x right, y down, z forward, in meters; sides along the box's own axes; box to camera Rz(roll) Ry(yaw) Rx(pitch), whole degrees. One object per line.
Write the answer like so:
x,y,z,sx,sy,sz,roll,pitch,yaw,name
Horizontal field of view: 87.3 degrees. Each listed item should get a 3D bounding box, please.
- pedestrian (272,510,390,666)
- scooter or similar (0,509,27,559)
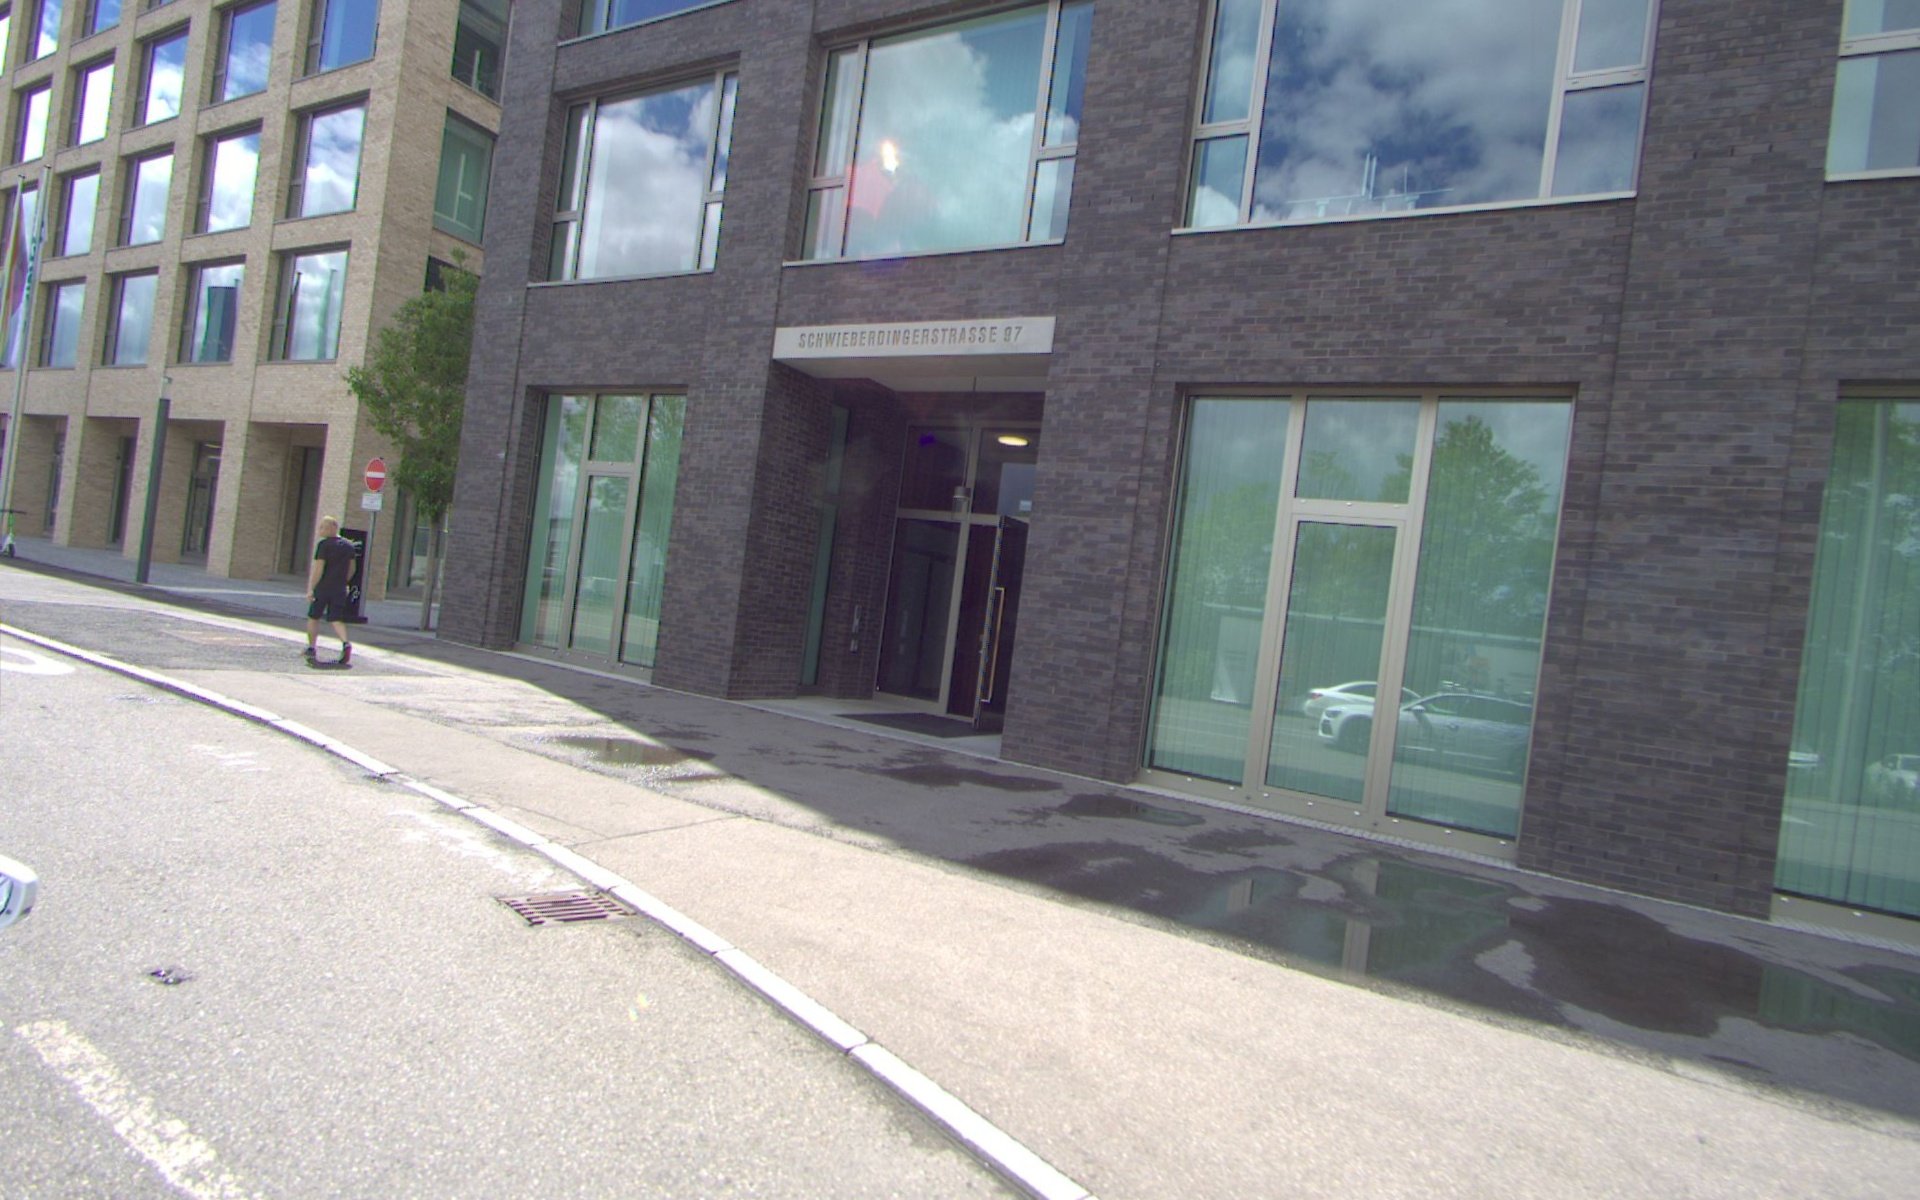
-7.627,-0.142,12.203,0.946,1.748,0.684,7,0,31,pedestrian
-23.730,-1.657,24.929,1.380,1.167,0.427,6,0,31,scooter or similar
